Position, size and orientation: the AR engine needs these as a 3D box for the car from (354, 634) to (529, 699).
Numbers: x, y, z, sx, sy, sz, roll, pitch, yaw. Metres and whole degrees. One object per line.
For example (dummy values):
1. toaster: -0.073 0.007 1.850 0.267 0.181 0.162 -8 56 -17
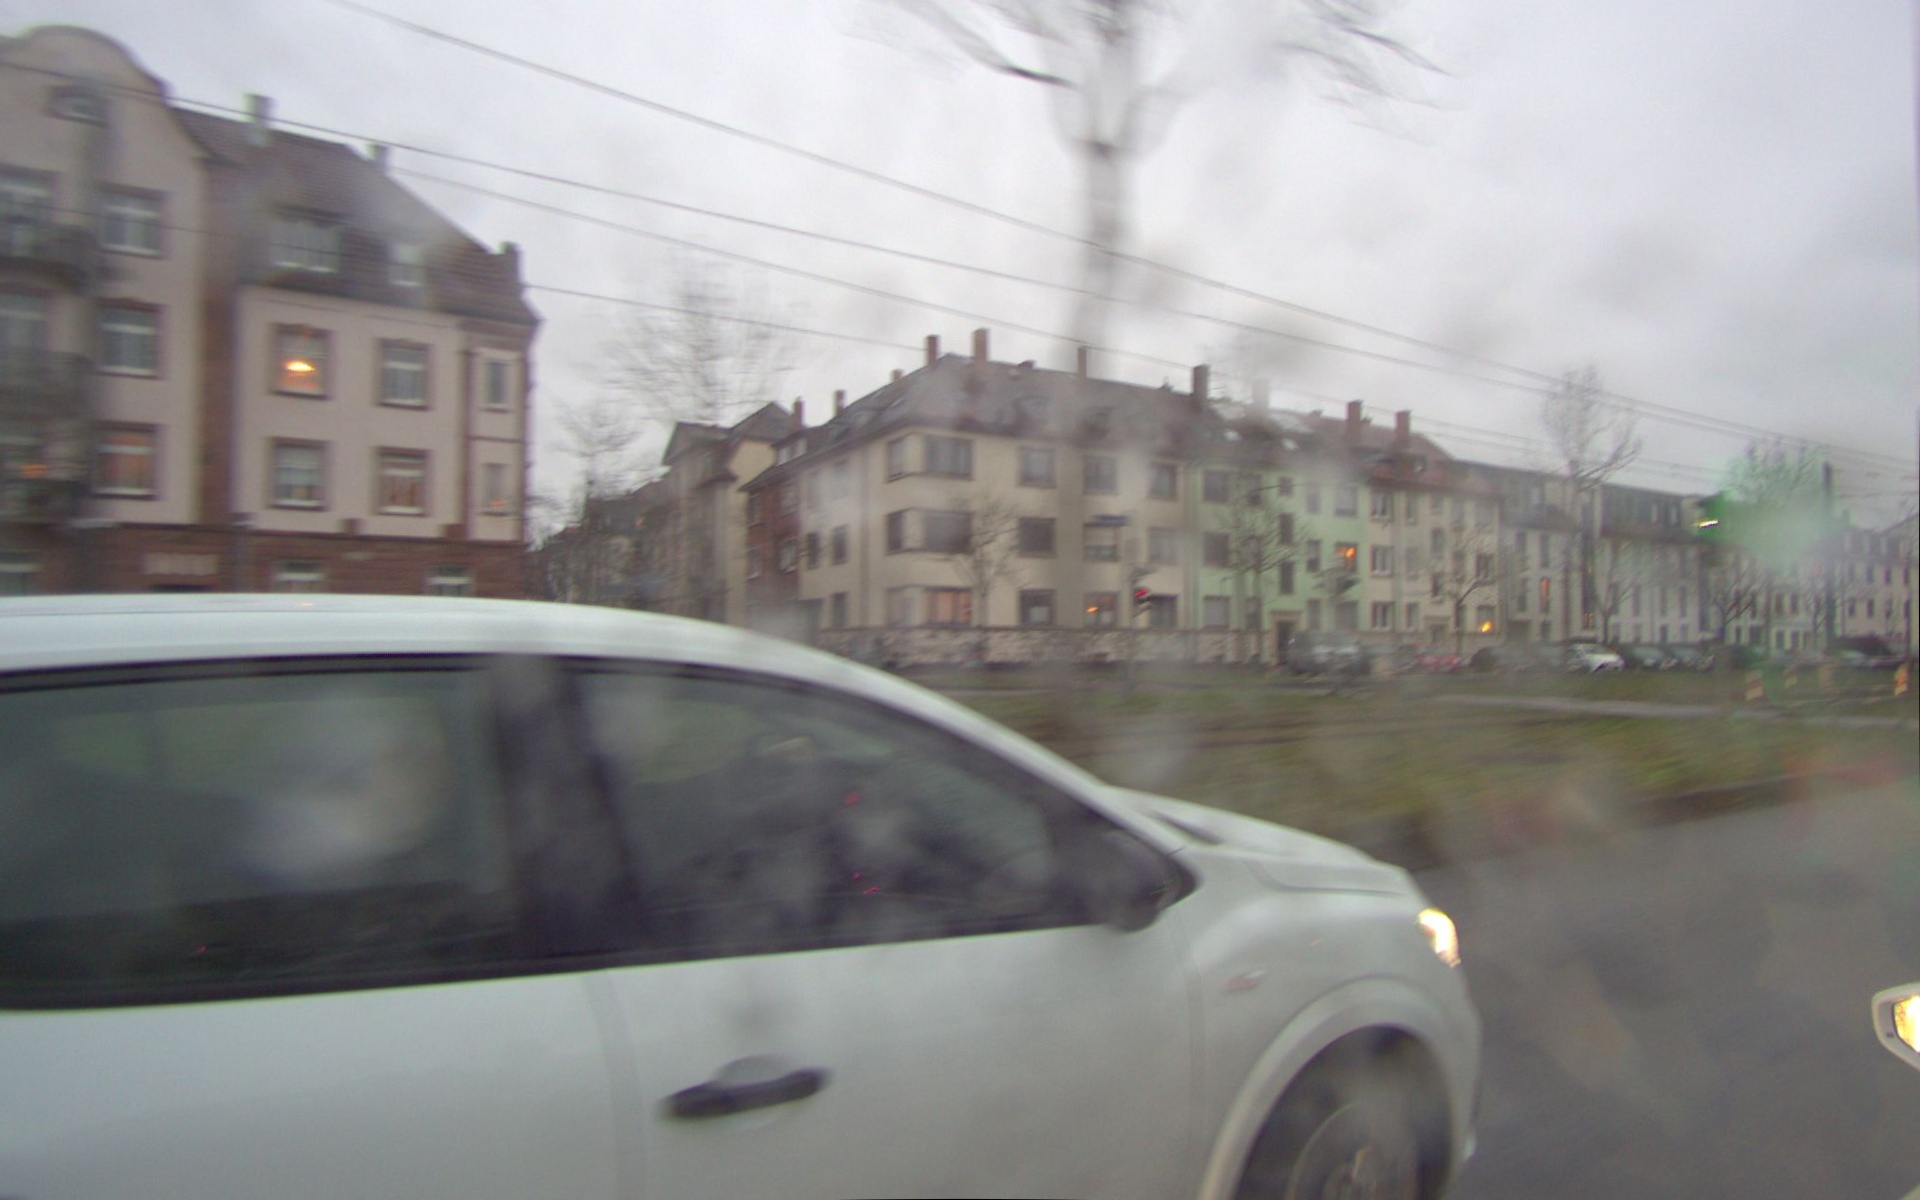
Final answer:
1. car: -12.528 1.550 24.596 1.677 1.176 4.107 3 1 9

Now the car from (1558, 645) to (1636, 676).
1. car: 31.277 2.957 49.426 1.702 1.262 3.846 1 0 6

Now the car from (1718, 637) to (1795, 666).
1. car: 47.481 3.050 59.981 1.636 1.561 4.165 1 -1 6

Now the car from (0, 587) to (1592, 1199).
1. car: -0.563 0.756 2.104 3.957 1.494 1.679 2 -1 -33

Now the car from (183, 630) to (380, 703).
1. car: -15.072 1.428 22.584 1.321 1.247 4.046 3 1 6

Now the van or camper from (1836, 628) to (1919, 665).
1. van or camper: 65.438 3.256 70.699 1.960 2.391 6.884 1 -1 4

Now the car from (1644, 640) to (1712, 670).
1. car: 39.111 2.989 54.792 1.636 1.440 3.388 1 -1 9

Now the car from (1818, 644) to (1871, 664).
1. car: 58.716 3.574 66.756 1.360 1.220 2.890 1 -1 11

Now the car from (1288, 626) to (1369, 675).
1. car: 14.769 1.965 40.507 1.796 1.746 4.661 1 0 4

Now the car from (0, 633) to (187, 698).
1. car: -17.897 1.298 20.553 1.759 1.003 2.920 3 1 5

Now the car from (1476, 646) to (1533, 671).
1. car: 25.172 2.691 46.482 1.408 1.062 2.393 0 0 2

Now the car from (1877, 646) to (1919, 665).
1. car: 69.337 4.026 73.240 1.713 1.228 3.541 1 -1 2

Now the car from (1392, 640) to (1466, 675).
1. car: 20.206 2.446 43.398 1.653 1.326 3.582 1 0 3

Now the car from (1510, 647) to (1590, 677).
1. car: 28.168 2.934 48.066 1.703 1.188 3.822 1 0 3

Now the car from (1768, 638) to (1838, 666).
1. car: 52.986 3.242 63.212 1.707 1.610 3.852 1 -1 11

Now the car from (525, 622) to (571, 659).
1. car: -21.002 2.052 51.079 1.781 1.731 3.680 1 -1 -28

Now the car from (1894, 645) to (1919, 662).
1. car: 71.907 3.995 74.575 1.845 1.216 3.541 1 -1 2

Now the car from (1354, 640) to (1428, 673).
1. car: 18.010 2.351 42.109 1.702 1.156 3.573 1 0 3

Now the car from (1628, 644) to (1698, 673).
1. car: 37.139 3.062 53.126 1.703 1.354 2.938 1 0 3
